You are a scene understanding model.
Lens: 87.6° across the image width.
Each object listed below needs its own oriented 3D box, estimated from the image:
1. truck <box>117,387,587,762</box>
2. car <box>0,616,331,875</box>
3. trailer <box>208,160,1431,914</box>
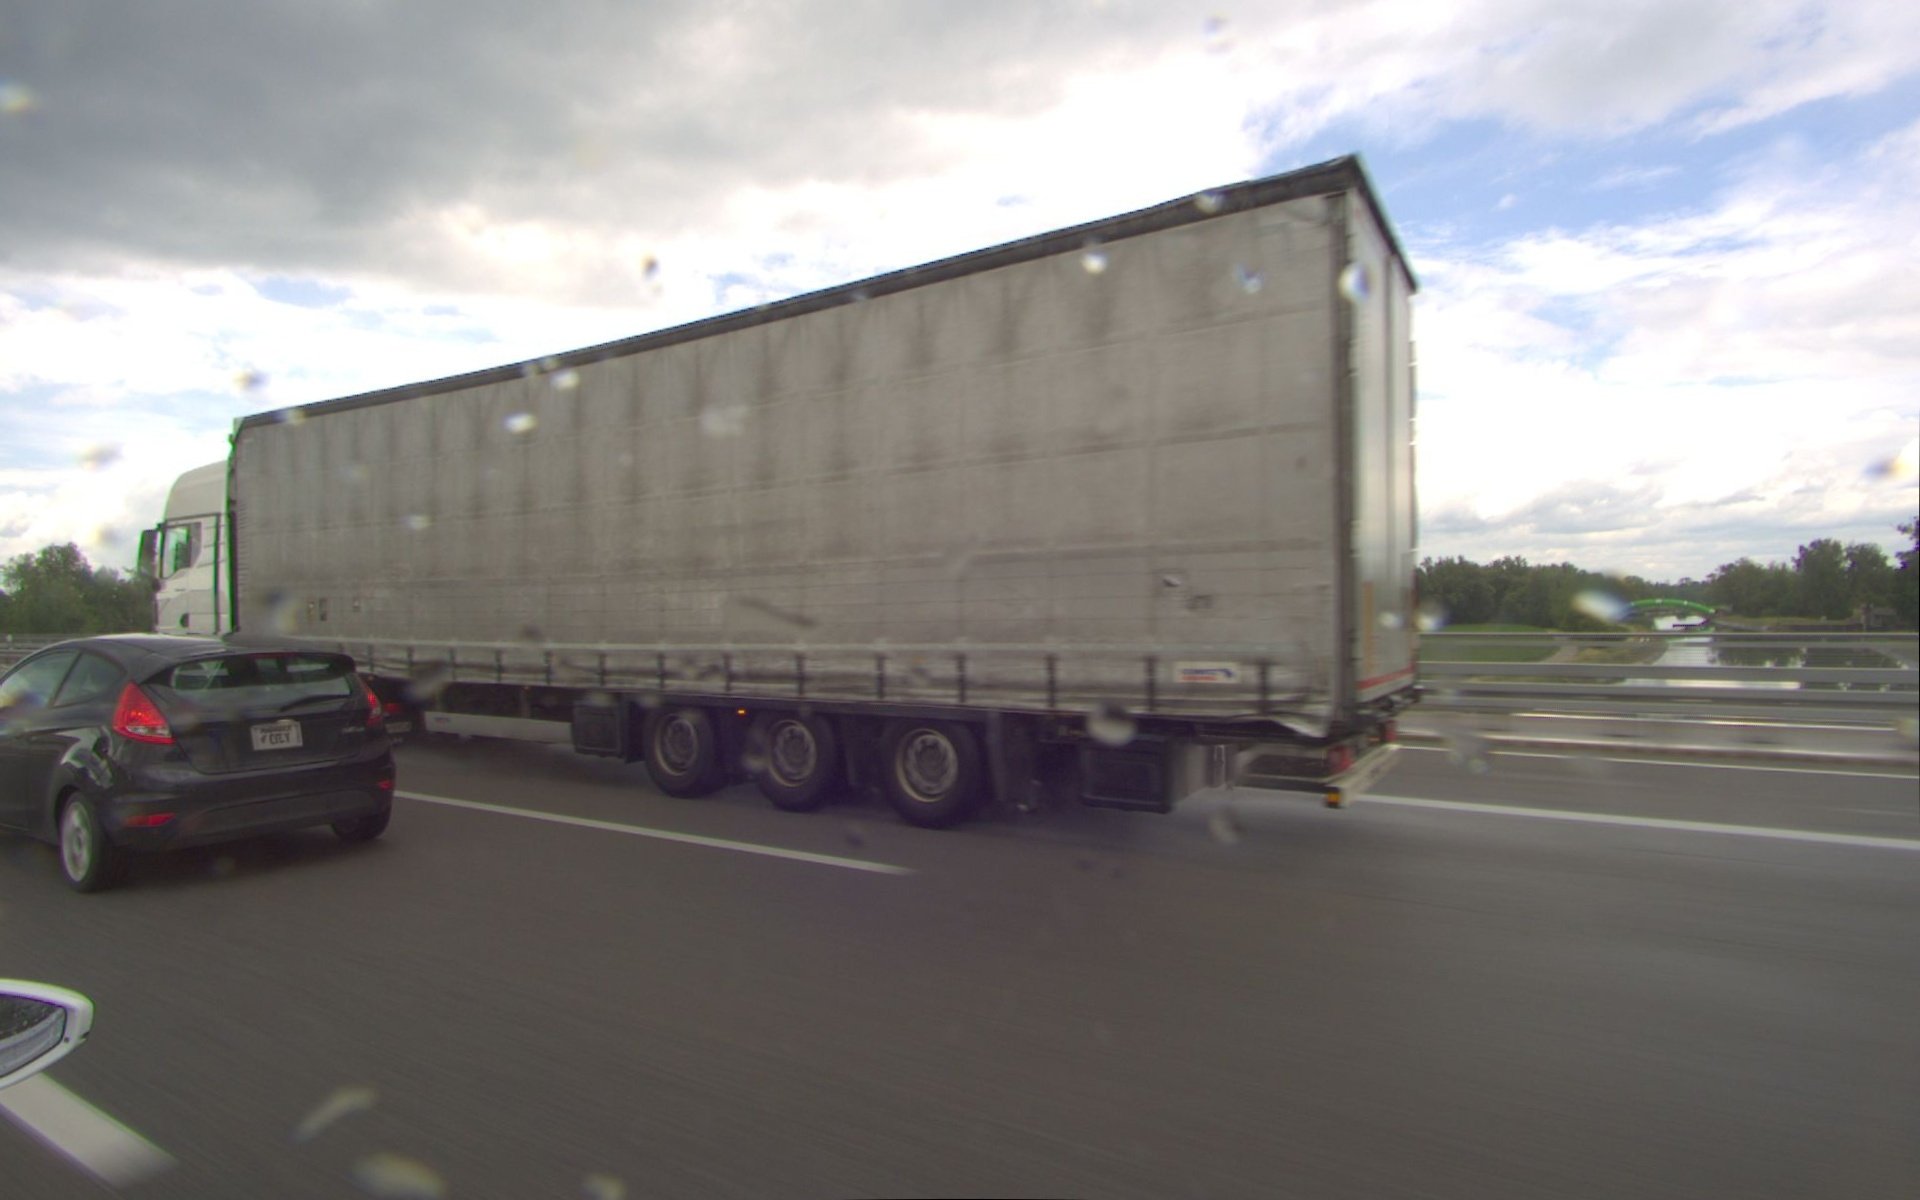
[{"bbox_3d":[-8.521,-0.244,13.864,6.493,4.072,2.956,0,-1,32],"label":"truck"},{"bbox_3d":[-6.033,0.849,7.108,3.118,1.460,1.444,0,-1,32],"label":"car"},{"bbox_3d":[-2.939,-0.295,10.370,13.913,4.072,2.956,0,-1,32],"label":"trailer"}]
